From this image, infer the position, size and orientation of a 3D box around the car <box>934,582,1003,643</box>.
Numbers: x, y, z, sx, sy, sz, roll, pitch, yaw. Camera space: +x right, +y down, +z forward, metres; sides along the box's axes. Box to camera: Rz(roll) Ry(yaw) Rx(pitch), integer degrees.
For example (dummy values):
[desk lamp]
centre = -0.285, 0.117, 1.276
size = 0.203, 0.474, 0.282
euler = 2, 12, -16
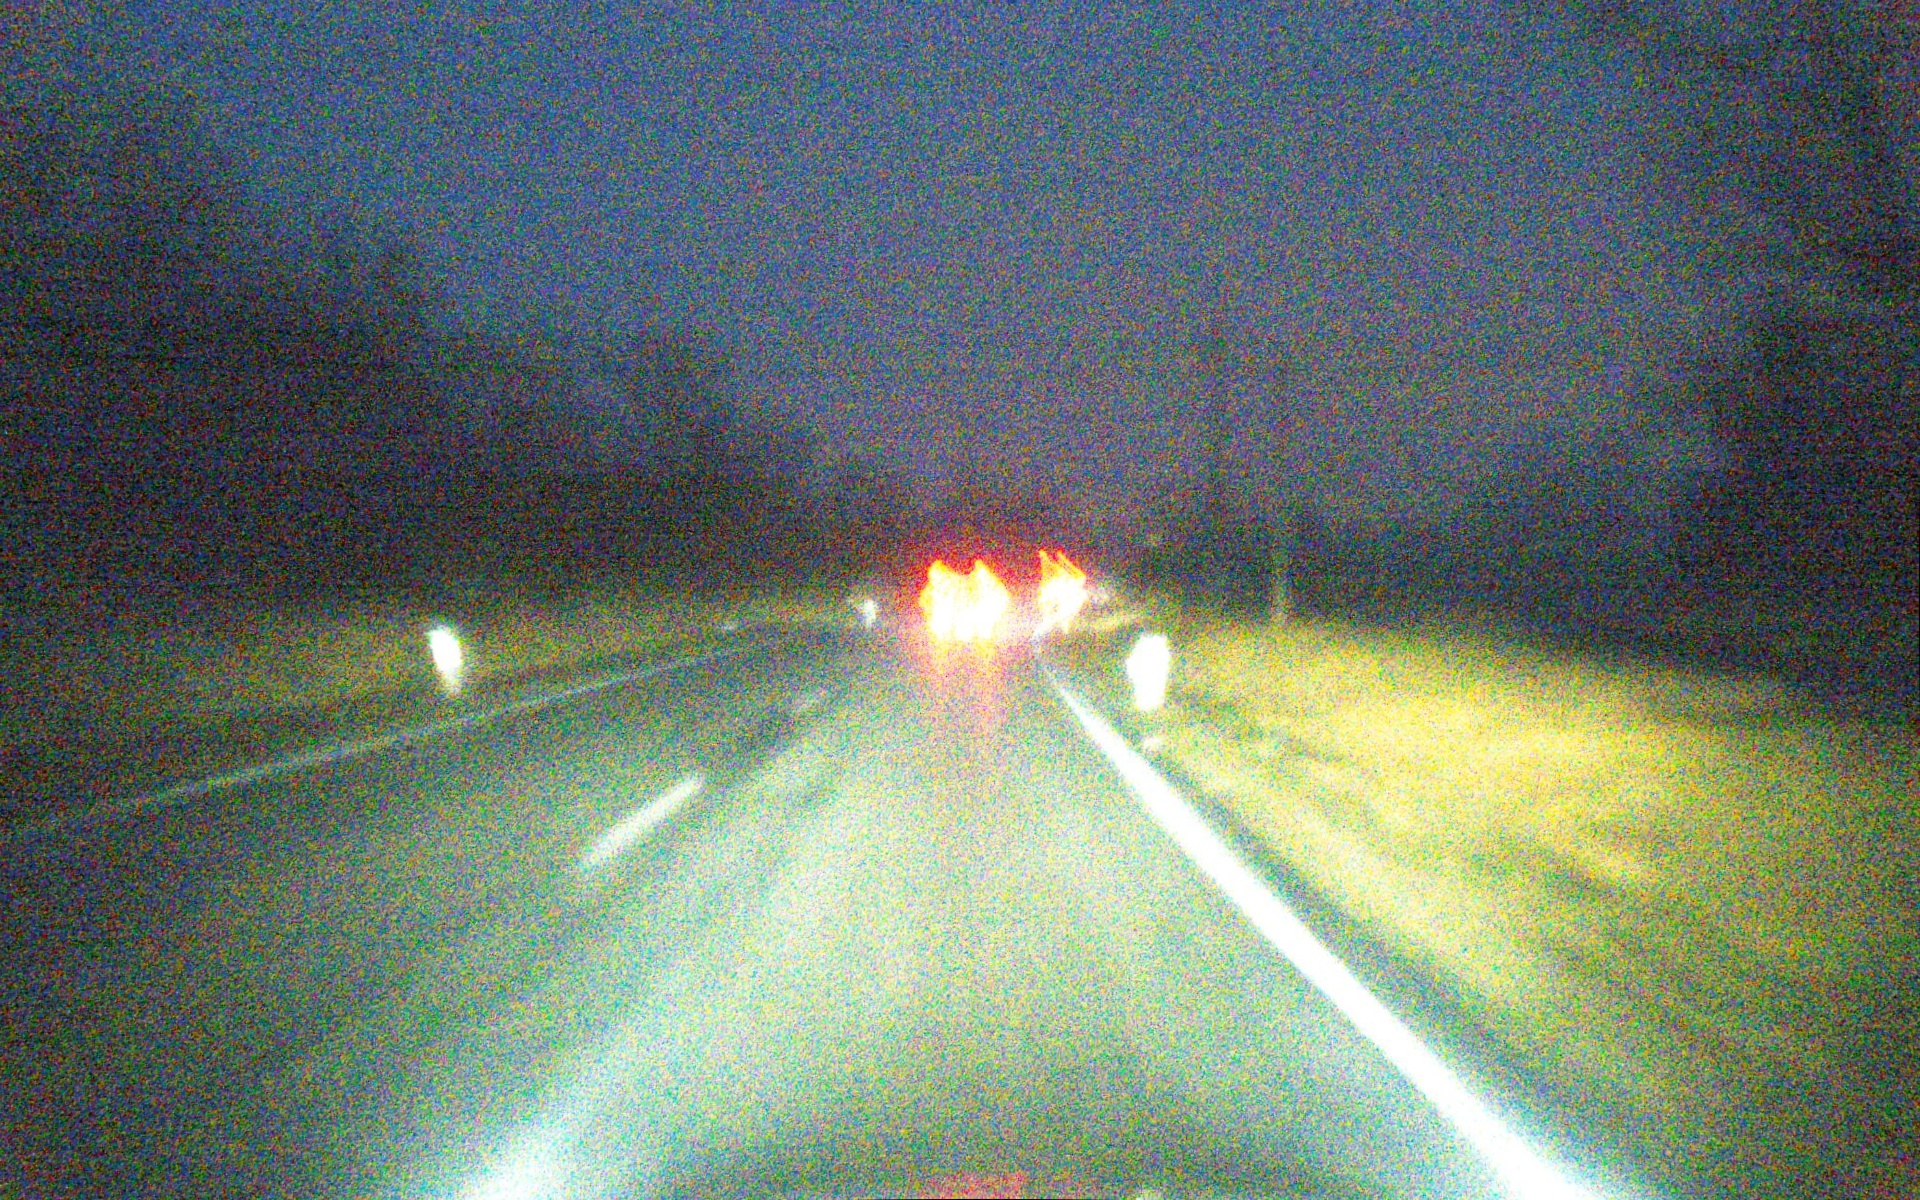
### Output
[car]
centre = 0.290, 0.334, 49.877
size = 1.804, 1.771, 4.002
euler = 0, 1, 4
